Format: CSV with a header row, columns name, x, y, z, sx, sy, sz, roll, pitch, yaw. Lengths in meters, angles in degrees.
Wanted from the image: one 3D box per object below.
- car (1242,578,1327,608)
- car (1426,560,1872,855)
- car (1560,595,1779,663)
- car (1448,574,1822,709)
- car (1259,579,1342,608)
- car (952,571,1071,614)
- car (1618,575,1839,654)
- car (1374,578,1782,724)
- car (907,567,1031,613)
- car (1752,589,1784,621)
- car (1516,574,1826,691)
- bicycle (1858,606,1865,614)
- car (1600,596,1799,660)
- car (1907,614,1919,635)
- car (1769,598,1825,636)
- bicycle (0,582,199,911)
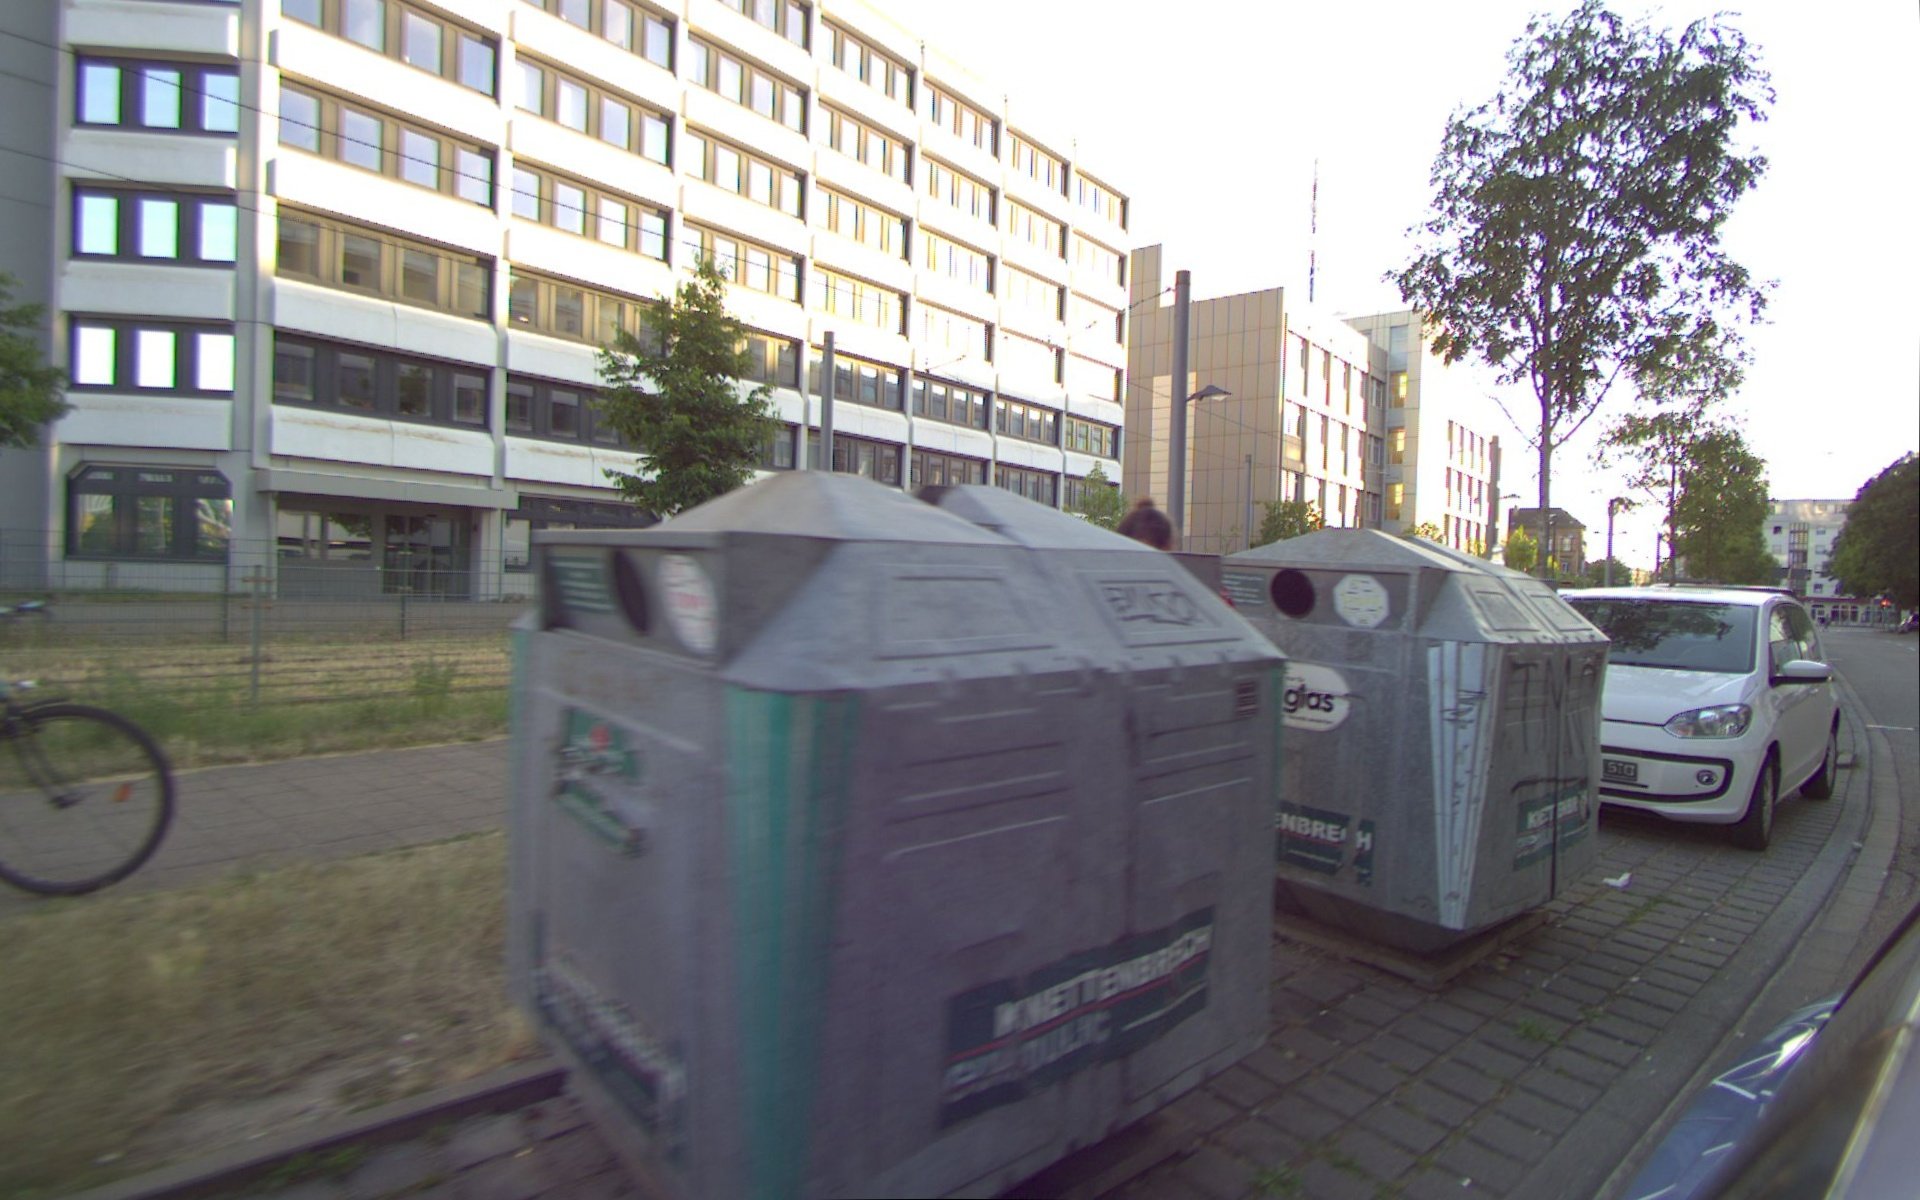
name,x,y,z,sx,sy,sz,roll,pitch,yaw
car,17.027,-0.351,53.174,3.983,1.506,1.650,0,-1,42
car,4.868,0.550,6.985,3.491,1.485,1.725,1,1,-42
car,16.236,0.639,23.319,3.712,1.461,1.761,1,-1,5
car,9.374,0.508,14.433,3.871,1.528,1.951,4,2,11
car,18.458,-0.340,54.941,3.983,1.506,1.650,0,-1,42
car,1.728,-0.217,34.780,3.980,1.416,1.569,-1,-1,40
car,21.186,0.392,28.070,4.525,2.061,1.867,1,-1,7
car,7.045,0.547,11.884,3.689,1.528,1.684,1,-1,6
car,0.244,-0.280,33.101,3.980,1.416,1.569,-1,-1,40
car,73.654,0.459,92.305,2.048,2.690,5.358,4,2,38
car,11.443,0.489,16.528,3.716,1.748,1.759,1,-1,8
bicycle,123.629,1.353,138.808,0.512,1.059,1.877,2,1,37
car,18.532,0.684,25.507,3.712,1.484,1.636,1,-1,5
car,74.150,1.903,77.859,1.587,1.589,4.406,-2,-2,40
car,34.964,0.686,42.345,1.728,1.484,3.943,0,0,39
bicycle,-3.706,0.486,3.457,0.763,1.096,1.663,2,1,44
